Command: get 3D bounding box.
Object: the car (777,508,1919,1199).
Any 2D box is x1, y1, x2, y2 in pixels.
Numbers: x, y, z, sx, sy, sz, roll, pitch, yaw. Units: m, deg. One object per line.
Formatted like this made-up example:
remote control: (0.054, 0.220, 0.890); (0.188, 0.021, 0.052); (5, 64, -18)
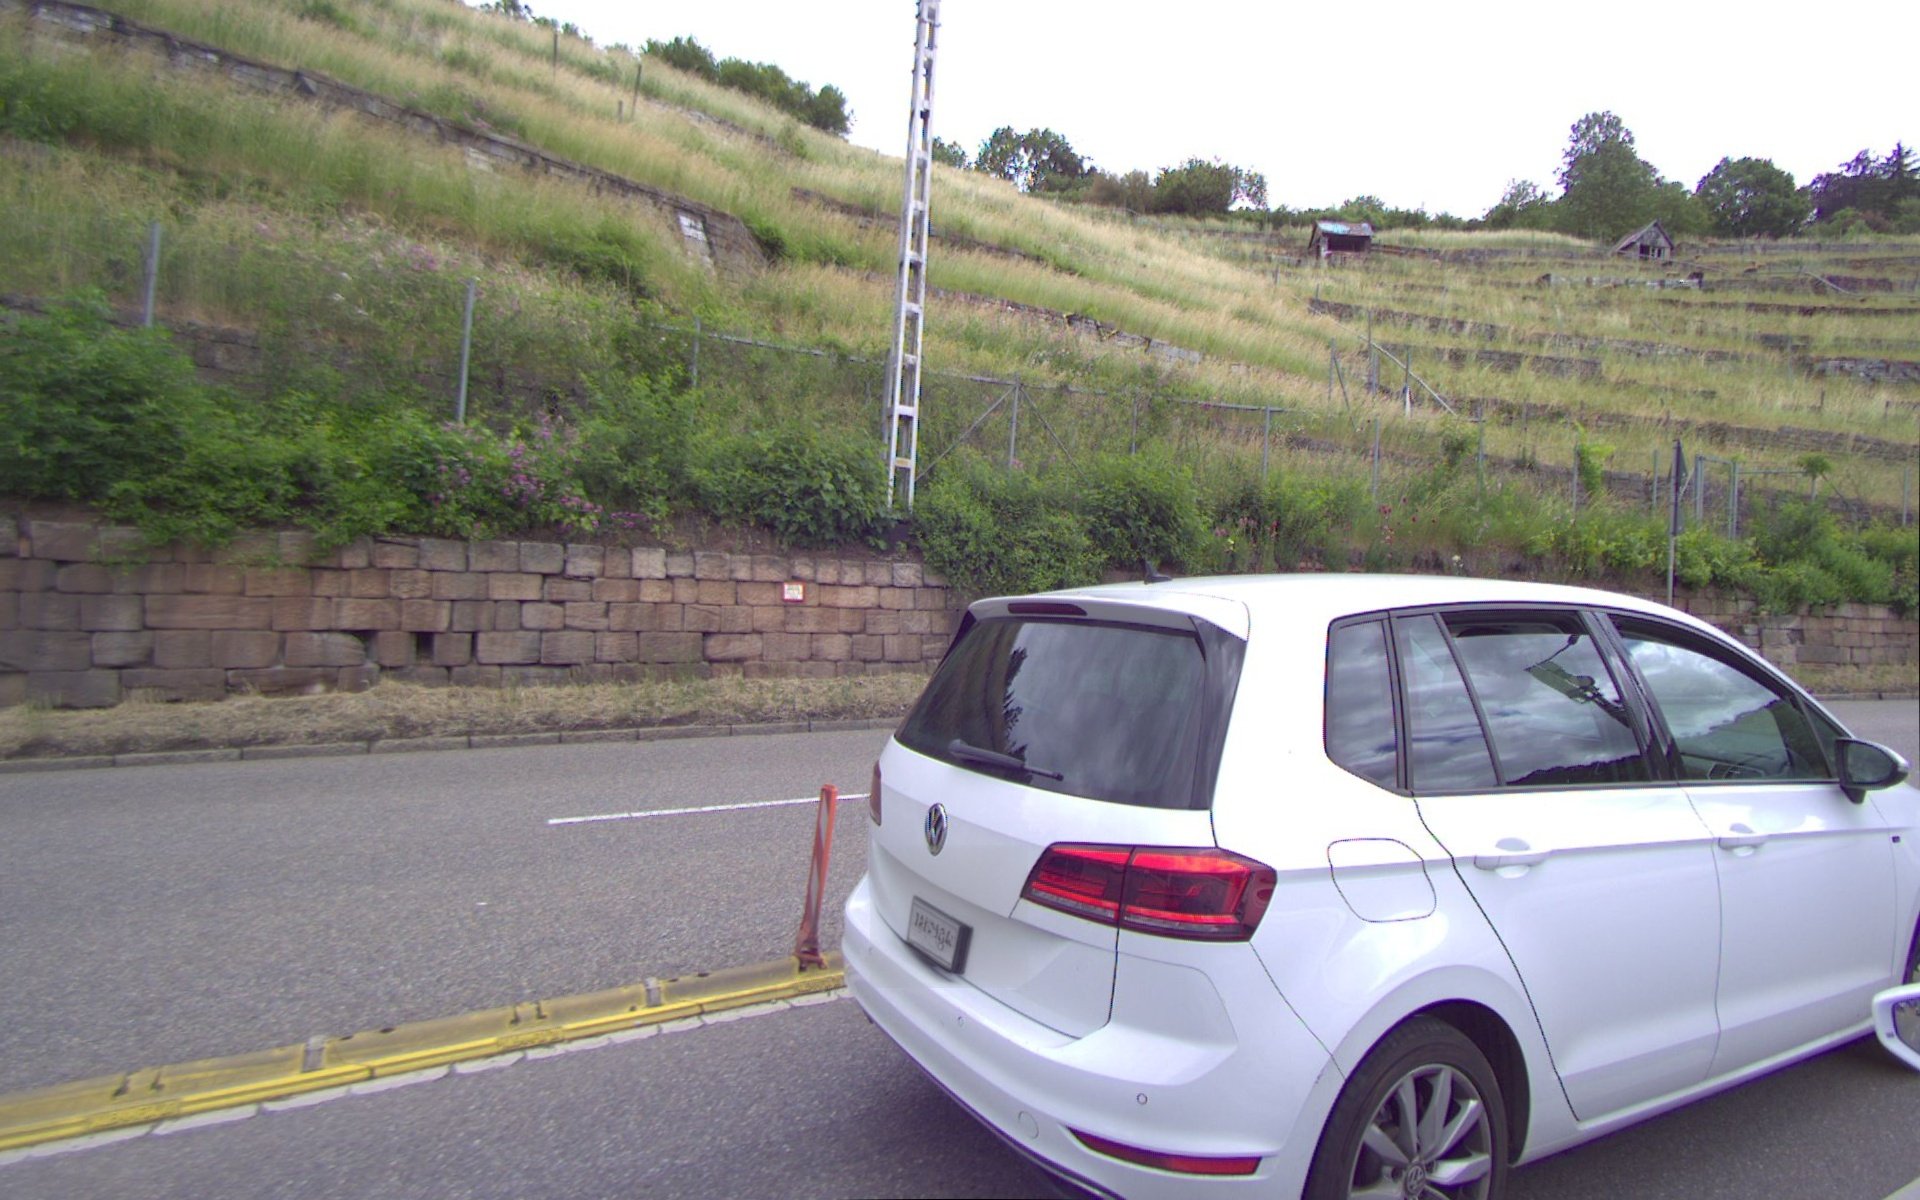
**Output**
car: (1.745, 0.690, 3.371); (4.301, 1.601, 1.813); (1, 0, -28)
